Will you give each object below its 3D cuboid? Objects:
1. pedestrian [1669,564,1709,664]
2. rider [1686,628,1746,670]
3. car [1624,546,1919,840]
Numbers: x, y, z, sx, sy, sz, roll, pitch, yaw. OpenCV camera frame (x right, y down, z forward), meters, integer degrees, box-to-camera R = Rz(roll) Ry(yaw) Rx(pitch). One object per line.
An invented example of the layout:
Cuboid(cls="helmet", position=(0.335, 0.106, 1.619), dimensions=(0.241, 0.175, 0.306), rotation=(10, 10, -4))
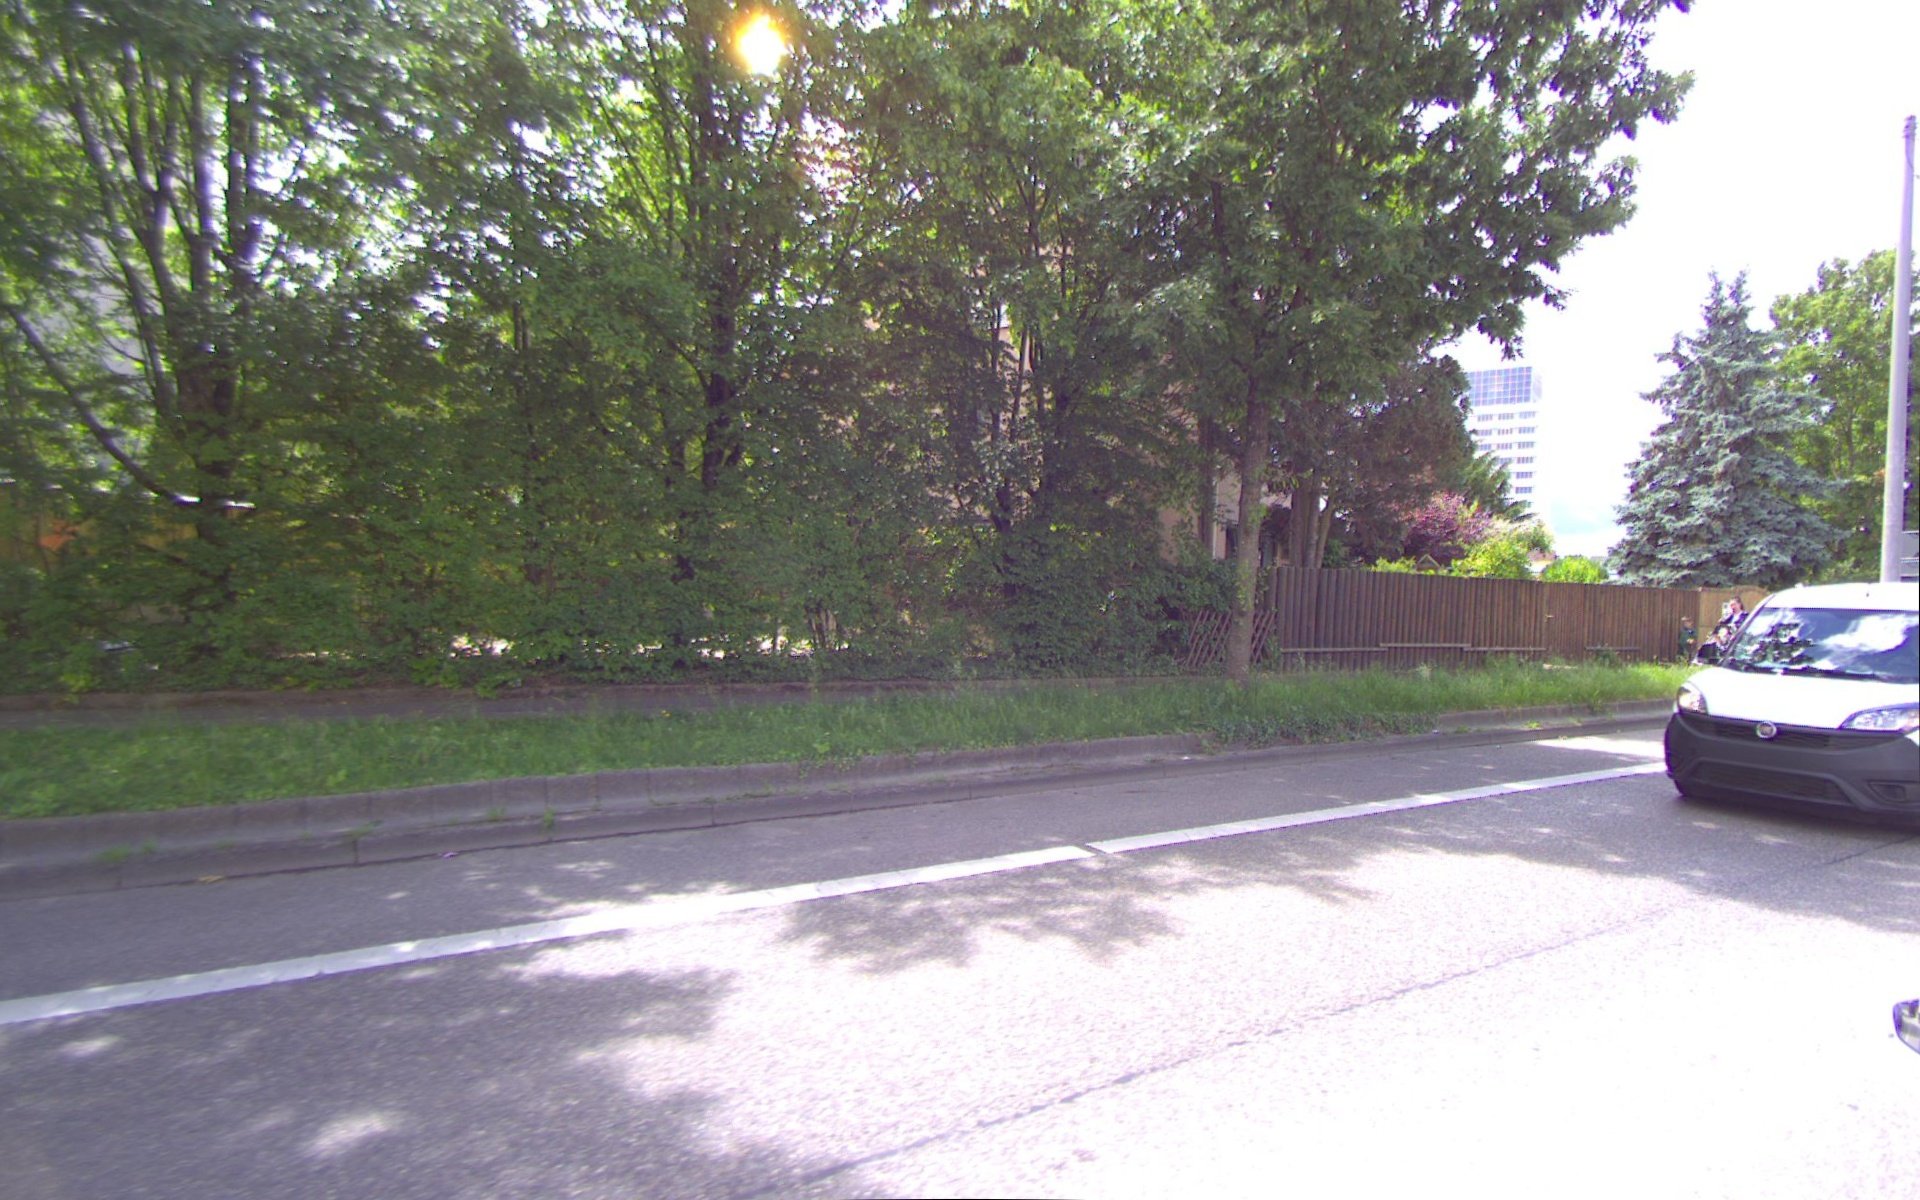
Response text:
Cuboid(cls="pedestrian", position=(15.223, 0.293, 20.986), dimensions=(0.409, 2.040, 0.400), rotation=(2, 3, -30))
Cuboid(cls="rider", position=(14.928, 0.974, 19.849), dimensions=(0.683, 0.744, 0.724), rotation=(2, 3, -35))
Cuboid(cls="car", position=(7.726, 0.631, 8.421), dimensions=(4.541, 1.900, 1.838), rotation=(1, 0, -31))
